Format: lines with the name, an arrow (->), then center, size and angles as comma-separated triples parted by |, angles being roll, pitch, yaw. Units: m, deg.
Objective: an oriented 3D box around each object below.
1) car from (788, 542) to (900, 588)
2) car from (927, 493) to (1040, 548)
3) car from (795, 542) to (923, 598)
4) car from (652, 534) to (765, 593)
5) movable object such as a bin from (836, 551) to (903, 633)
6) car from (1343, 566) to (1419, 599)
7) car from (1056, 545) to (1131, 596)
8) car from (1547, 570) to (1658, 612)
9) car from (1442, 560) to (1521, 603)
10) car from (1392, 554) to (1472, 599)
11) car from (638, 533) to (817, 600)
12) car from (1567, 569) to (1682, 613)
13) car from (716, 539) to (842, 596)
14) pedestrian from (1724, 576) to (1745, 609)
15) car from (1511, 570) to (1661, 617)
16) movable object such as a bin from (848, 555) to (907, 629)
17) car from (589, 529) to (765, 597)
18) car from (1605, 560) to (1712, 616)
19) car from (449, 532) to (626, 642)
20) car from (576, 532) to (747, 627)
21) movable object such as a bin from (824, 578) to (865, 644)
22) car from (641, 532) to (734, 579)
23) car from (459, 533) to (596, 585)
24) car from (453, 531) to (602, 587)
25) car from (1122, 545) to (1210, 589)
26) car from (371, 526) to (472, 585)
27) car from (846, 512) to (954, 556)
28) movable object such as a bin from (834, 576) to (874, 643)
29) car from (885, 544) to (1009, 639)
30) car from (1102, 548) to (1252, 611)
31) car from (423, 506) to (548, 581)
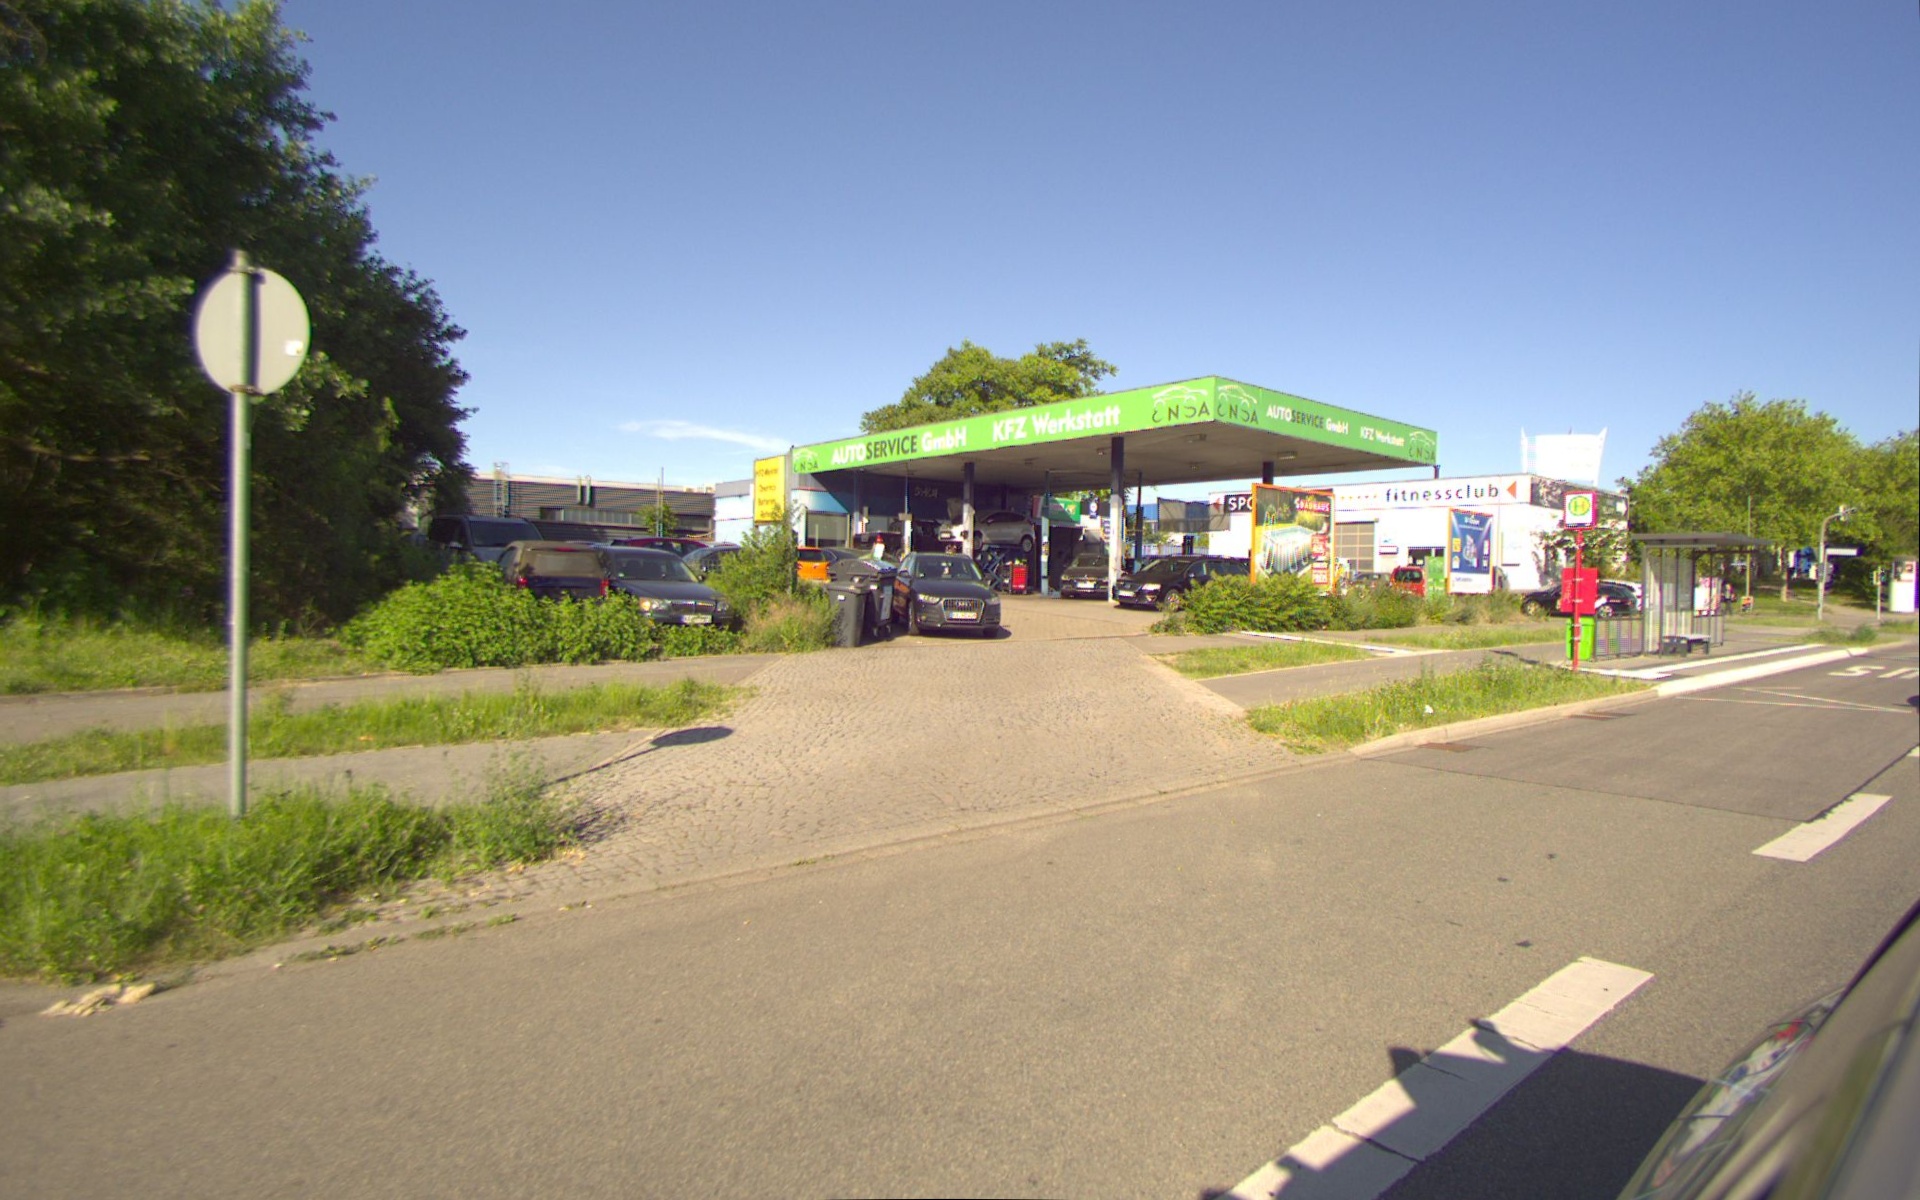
car -> -3.936, -1.191, 33.962 | 1.684, 1.434, 3.991 | -1, 3, -43
car -> 0.878, -2.815, 36.544 | 3.710, 1.776, 1.923 | -1, 3, -39
car -> -3.045, -0.919, 30.005 | 1.707, 1.535, 3.991 | -1, 3, -43
car -> -8.323, -1.155, 33.305 | 1.966, 1.805, 3.991 | 0, 0, -43
movable object such as a bin -> -1.641, -0.152, 18.603 | 0.972, 1.446, 1.258 | 1, 0, 7
car -> 20.485, -0.898, 49.207 | 4.147, 1.266, 1.771 | -4, 9, -42
car -> 4.317, -0.886, 32.267 | 1.970, 1.505, 3.984 | 0, 0, 13
car -> 27.972, -0.431, 44.133 | 1.808, 1.304, 3.621 | -1, 9, -38
car -> 24.082, -0.891, 46.654 | 4.518, 1.804, 1.686 | -1, 6, -43
car -> 22.179, -1.124, 47.520 | 4.145, 1.883, 1.897 | -1, 6, -43
car -> -5.527, -0.753, 24.295 | 3.846, 1.482, 1.727 | -1, 0, -40
car -> 30.325, -0.433, 46.276 | 1.690, 1.468, 3.943 | 1, 8, -29
car -> -5.254, -0.961, 29.079 | 1.669, 1.535, 3.991 | -1, 3, -43
pedestrian -> 41.426, -0.408, 54.132 | 0.607, 1.737, 0.759 | 0, 2, -40
car -> 25.301, -0.295, 41.041 | 4.749, 1.549, 1.900 | 3, 3, 4
movable object such as a bin -> -1.674, -0.170, 20.668 | 0.972, 1.446, 1.222 | 1, 0, 7
car -> -7.286, -0.899, 26.236 | 4.062, 1.627, 1.717 | -1, 0, -40
car -> 32.965, -0.601, 47.907 | 1.652, 2.035, 4.012 | 5, 7, -8
car -> -6.626, -0.187, 15.709 | 1.739, 1.505, 3.292 | 0, 0, -38
car -> -5.120, -0.322, 17.131 | 1.697, 1.435, 3.292 | 0, 0, -38
movable object such as a bin -> -1.958, 0.184, 17.136 | 0.572, 1.088, 0.509 | 1, 0, 9
car -> -11.562, -1.811, 42.822 | 1.966, 1.805, 4.515 | 0, 0, -43
car -> -13.374, -1.227, 31.376 | 3.639, 1.482, 1.611 | -1, 0, -40
car -> -12.428, -1.132, 29.164 | 3.639, 1.482, 1.611 | -1, 0, -40
car -> 9.641, -1.508, 47.520 | 1.890, 1.931, 3.698 | 0, 0, -40
car -> -14.497, -1.225, 27.157 | 1.702, 1.402, 4.049 | 0, 4, -38
car -> -2.224, -2.436, 37.882 | 3.562, 1.496, 1.924 | -1, 3, -39
movable object such as a bin -> -1.848, 0.157, 17.709 | 0.572, 1.135, 0.509 | 1, 0, 9
car -> -0.401, -0.270, 20.987 | 1.764, 1.659, 4.572 | 2, 3, -11
car -> 5.949, -0.544, 27.523 | 4.172, 1.592, 1.749 | 0, 2, -39
car -> -10.859, -1.312, 23.032 | 1.702, 1.549, 4.049 | 0, 4, -38
